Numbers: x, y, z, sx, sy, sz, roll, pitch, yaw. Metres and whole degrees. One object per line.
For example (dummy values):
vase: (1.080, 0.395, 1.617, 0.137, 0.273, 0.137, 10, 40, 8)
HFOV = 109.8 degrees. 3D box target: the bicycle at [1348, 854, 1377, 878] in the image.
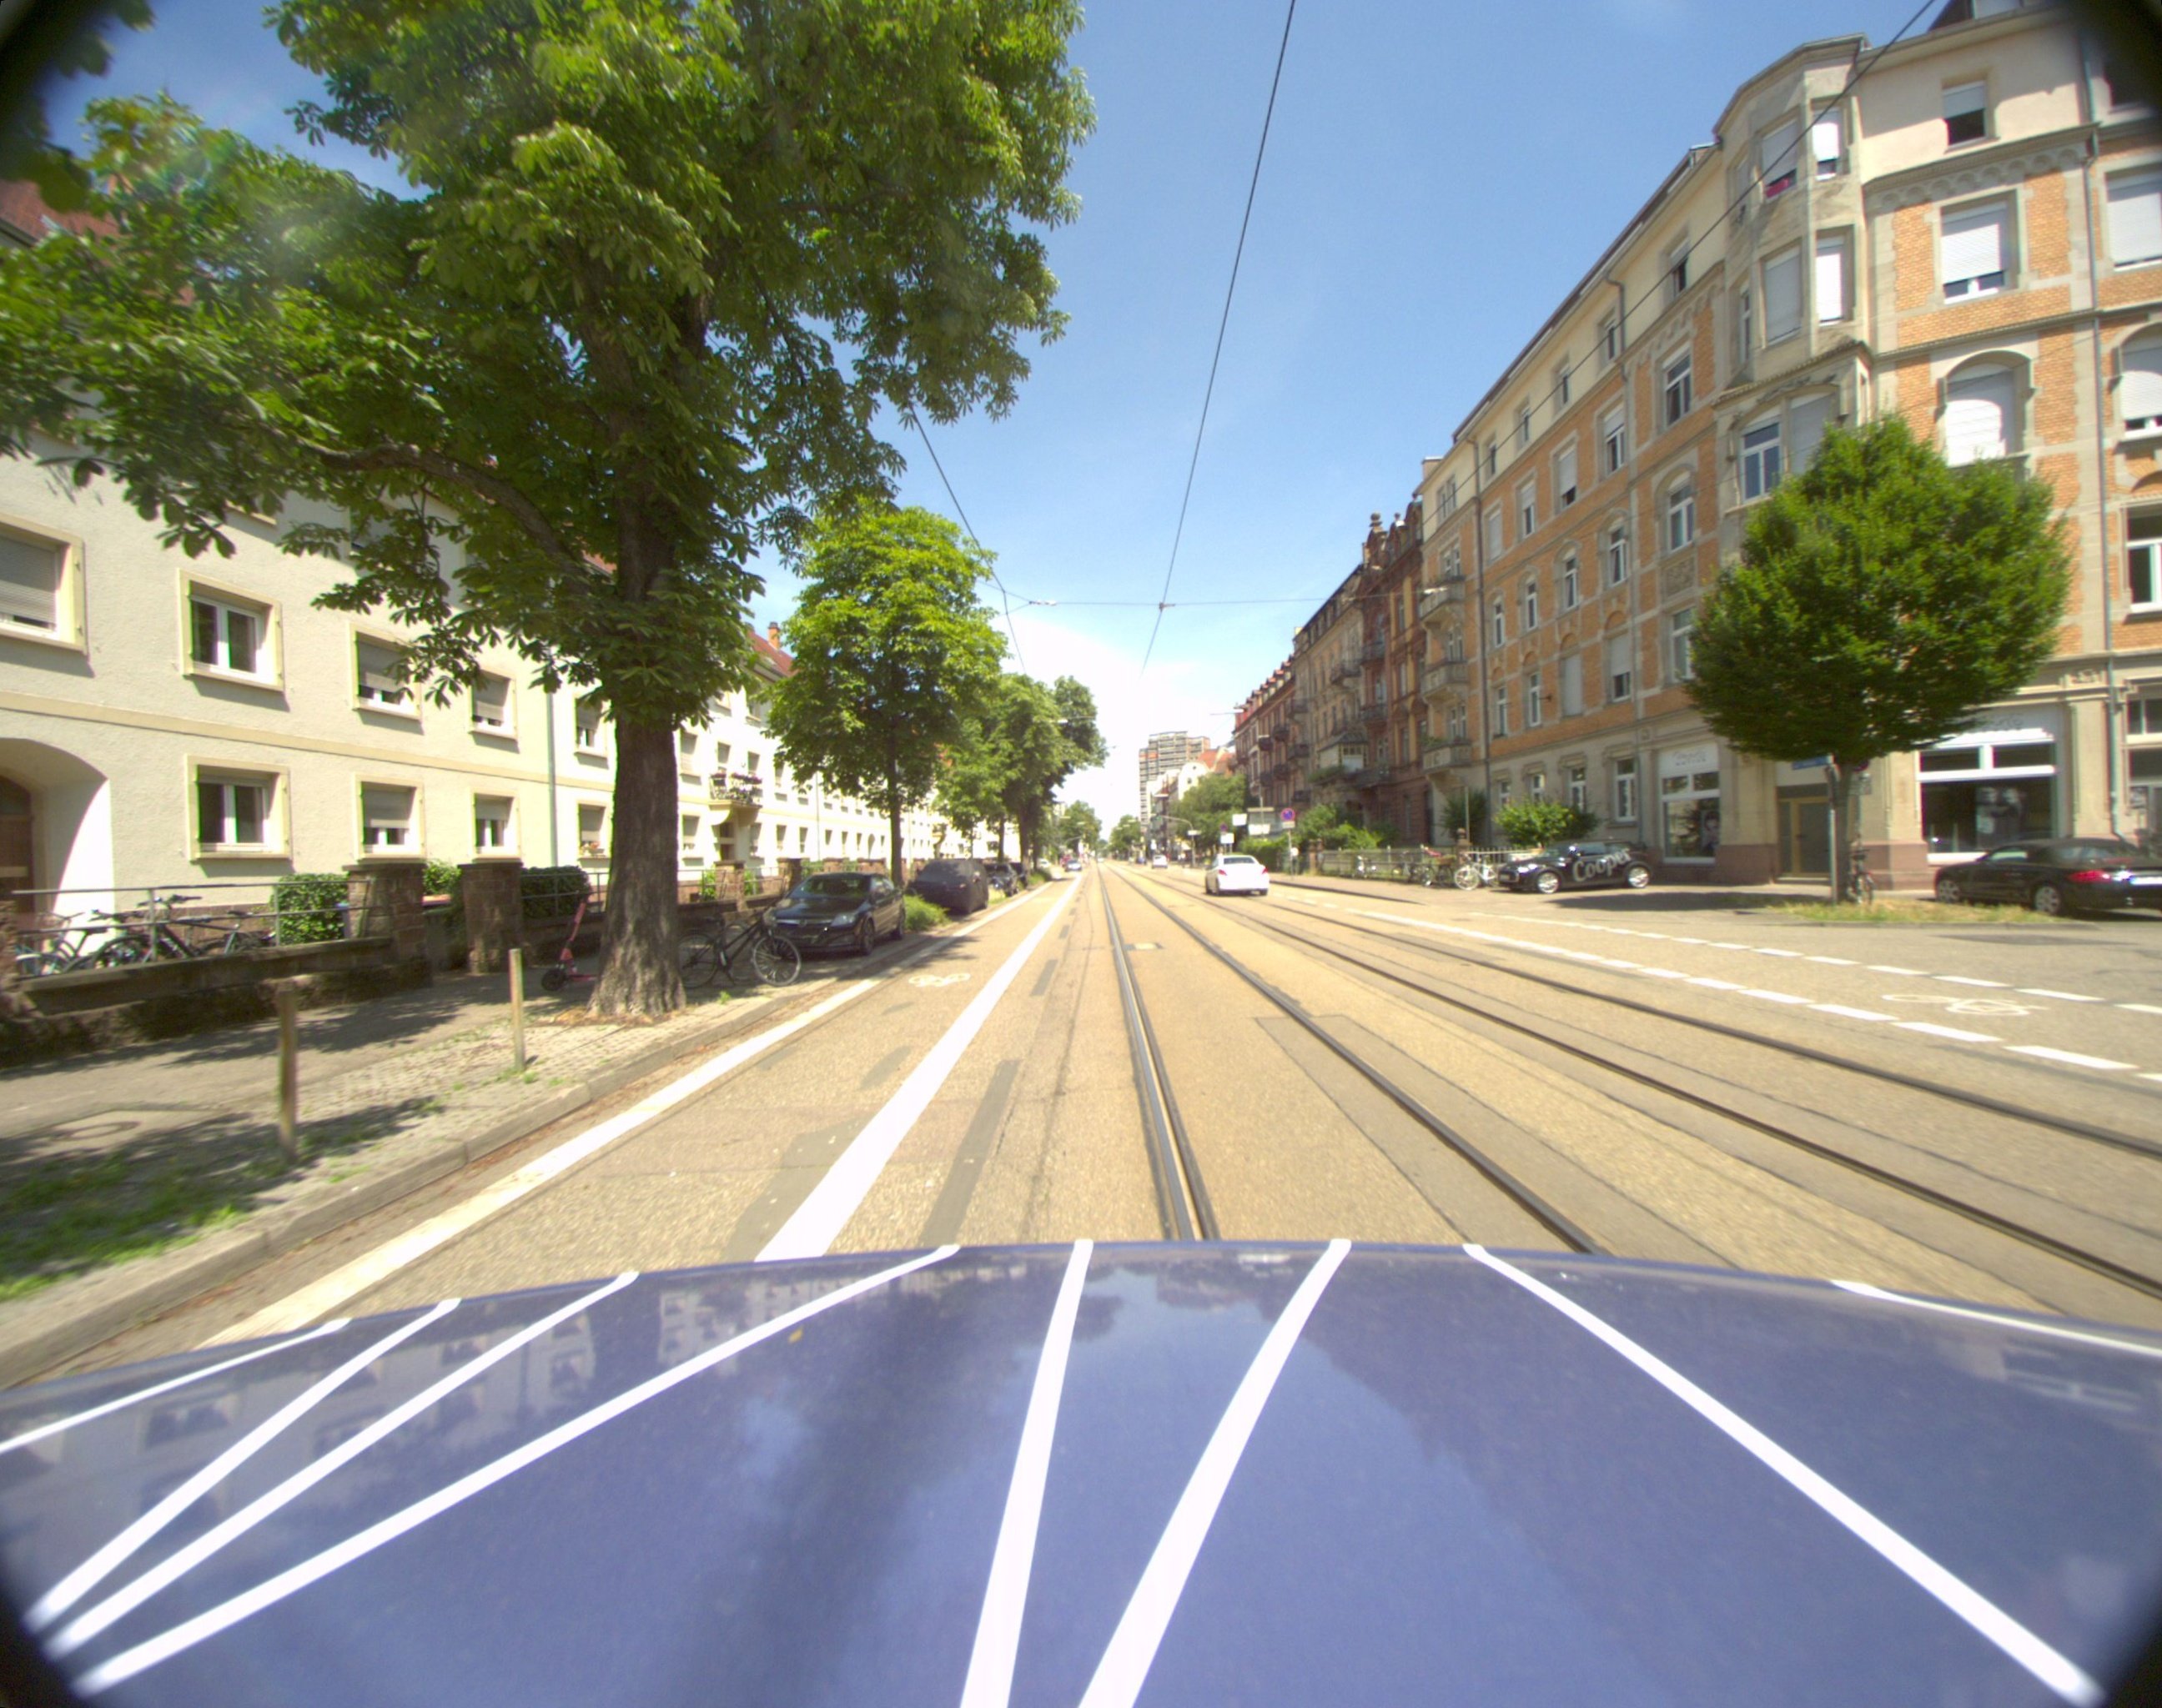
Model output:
bicycle: (11.895, 0.494, 32.161, 0.498, 0.981, 1.710, -6, 0, 0)

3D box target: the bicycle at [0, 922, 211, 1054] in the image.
bicycle: (-10.505, 1.355, 8.033, 0.480, 1.072, 1.923, -2, 0, -5)

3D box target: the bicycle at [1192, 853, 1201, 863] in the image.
bicycle: (11.803, 0.393, 77.862, 0.630, 1.072, 1.875, -1, 0, 1)

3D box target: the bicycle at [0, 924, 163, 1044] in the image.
bicycle: (-11.036, 1.365, 7.996, 0.480, 1.072, 1.923, -2, 0, -4)

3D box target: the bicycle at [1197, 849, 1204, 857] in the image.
bicycle: (15.591, -0.116, 99.252, 0.569, 1.032, 1.829, -2, 0, 2)

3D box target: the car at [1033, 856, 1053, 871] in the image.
car: (-3.830, 0.991, 77.599, 1.782, 1.402, 4.156, 3, 0, 0)

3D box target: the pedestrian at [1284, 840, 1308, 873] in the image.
pedestrian: (11.685, 0.159, 41.344, 0.853, 1.713, 1.138, -4, 0, 2)

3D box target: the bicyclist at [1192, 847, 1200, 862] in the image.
bicyclist: (11.802, 0.054, 77.877, 0.635, 1.575, 1.028, -1, 0, 1)

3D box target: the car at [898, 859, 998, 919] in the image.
car: (-4.063, 1.030, 24.069, 1.951, 1.641, 4.881, -1, 0, 4)

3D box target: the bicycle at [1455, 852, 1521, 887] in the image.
bicycle: (12.606, 0.485, 23.583, 1.709, 1.031, 0.551, -2, 0, 6)

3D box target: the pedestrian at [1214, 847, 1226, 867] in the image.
pedestrian: (11.818, 0.245, 64.567, 0.873, 1.690, 1.014, -2, 1, 7)

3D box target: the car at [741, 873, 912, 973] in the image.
car: (-4.393, 1.111, 13.851, 1.699, 1.410, 4.356, -1, 0, -1)

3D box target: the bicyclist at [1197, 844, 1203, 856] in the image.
bicyclist: (15.577, -0.524, 99.267, 0.564, 1.507, 0.892, -2, 0, 2)

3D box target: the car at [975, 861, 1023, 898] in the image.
car: (-3.696, 1.118, 34.867, 1.737, 1.543, 4.453, -1, 0, -1)

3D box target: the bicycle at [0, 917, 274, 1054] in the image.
bicycle: (-9.667, 1.280, 7.879, 0.480, 1.072, 1.924, -2, 0, 1)

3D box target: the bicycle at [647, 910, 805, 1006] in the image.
bicycle: (-4.413, 1.279, 9.521, 1.657, 1.072, 0.606, -1, 0, -6)

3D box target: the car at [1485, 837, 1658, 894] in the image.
car: (13.801, 0.289, 21.532, 3.769, 1.420, 1.713, -2, 1, 2)

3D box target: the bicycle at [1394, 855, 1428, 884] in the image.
bicycle: (11.708, 0.537, 27.020, 0.440, 0.978, 1.710, -2, 0, 0)

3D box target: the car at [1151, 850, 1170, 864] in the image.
car: (8.659, 0.327, 83.018, 1.688, 1.441, 4.001, -1, 0, 2)

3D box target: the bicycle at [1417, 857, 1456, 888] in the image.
bicycle: (11.654, 0.582, 24.979, 0.440, 0.978, 1.710, -2, 0, 0)

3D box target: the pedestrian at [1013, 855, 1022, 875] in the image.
pedestrian: (-5.631, 0.968, 67.300, 0.699, 1.660, 0.756, -2, 1, 0)

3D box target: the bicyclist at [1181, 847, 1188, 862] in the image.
bicyclist: (10.555, 0.064, 77.845, 0.594, 1.535, 0.952, -1, 0, 1)

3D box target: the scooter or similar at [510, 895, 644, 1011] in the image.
scooter or similar: (-5.983, 1.139, 9.082, 0.379, 1.206, 1.250, -1, 1, 32)

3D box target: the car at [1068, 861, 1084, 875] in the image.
car: (-0.570, 1.589, 88.997, 1.737, 1.543, 4.423, -1, 0, -1)

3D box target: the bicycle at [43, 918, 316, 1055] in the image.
bicycle: (-9.186, 1.291, 7.886, 0.480, 1.072, 1.924, -2, 0, 1)

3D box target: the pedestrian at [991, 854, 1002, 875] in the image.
pedestrian: (-6.609, 0.837, 59.574, 0.699, 1.660, 0.756, 1, 1, 0)

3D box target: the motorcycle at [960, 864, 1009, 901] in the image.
motorcycle: (-3.969, 1.155, 31.144, 1.919, 1.425, 0.671, -2, 0, -8)

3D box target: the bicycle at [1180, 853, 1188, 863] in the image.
bicycle: (10.565, 0.419, 77.865, 0.582, 1.072, 1.890, -1, 0, 1)

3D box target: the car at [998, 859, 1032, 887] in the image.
car: (-3.715, 1.051, 43.590, 1.661, 1.506, 3.999, -2, 0, -2)

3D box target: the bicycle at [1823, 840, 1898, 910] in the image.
bicycle: (15.044, 0.370, 14.707, 0.500, 1.221, 1.853, -1, 3, 29)

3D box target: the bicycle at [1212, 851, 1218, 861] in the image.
bicycle: (14.344, 0.253, 81.256, 0.460, 1.050, 1.565, -2, 0, 4)

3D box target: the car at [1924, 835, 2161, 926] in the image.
car: (17.616, 0.385, 13.763, 1.627, 1.331, 3.776, -1, 2, 22)

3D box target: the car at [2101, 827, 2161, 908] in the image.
car: (20.069, 0.285, 12.832, 1.627, 1.431, 3.776, -1, 2, 22)

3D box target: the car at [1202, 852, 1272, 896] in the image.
car: (5.492, 0.663, 27.169, 1.760, 1.416, 4.000, -1, 0, 2)
